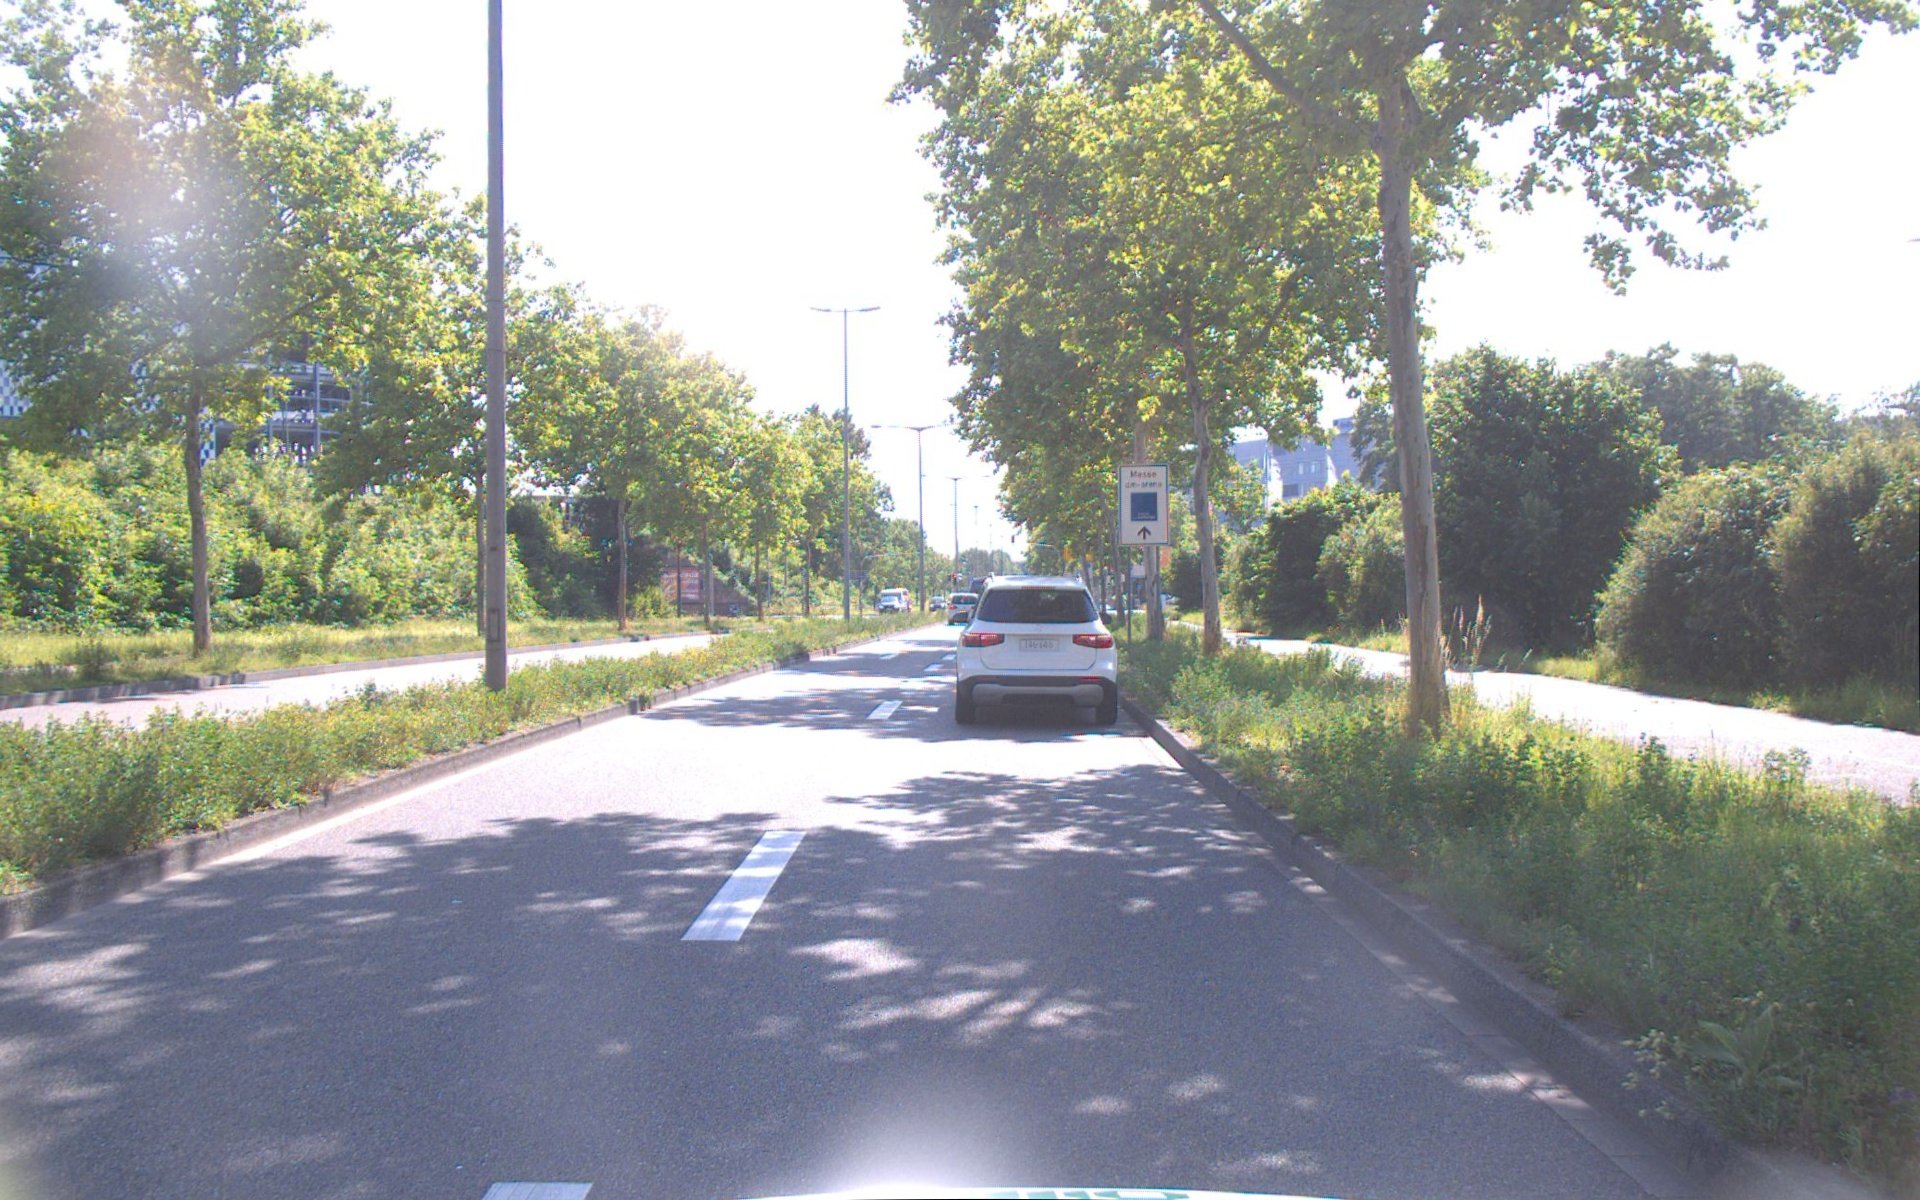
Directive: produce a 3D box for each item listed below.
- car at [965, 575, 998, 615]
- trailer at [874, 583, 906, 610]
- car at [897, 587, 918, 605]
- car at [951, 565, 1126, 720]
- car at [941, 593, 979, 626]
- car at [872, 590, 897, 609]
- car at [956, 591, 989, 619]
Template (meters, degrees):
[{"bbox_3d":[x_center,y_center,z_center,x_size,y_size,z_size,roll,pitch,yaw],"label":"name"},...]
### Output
[{"bbox_3d":[1.525,-0.317,114.207,2.038,2.703,4.876,1,0,3],"label":"car"},{"bbox_3d":[-6.184,-0.308,147.167,2.260,2.305,5.540,0,0,3],"label":"trailer"},{"bbox_3d":[-5.447,-0.418,171.617,1.727,1.821,5.378,1,0,3],"label":"car"},{"bbox_3d":[0.821,0.455,19.545,1.816,1.635,3.999,1,0,-1],"label":"car"},{"bbox_3d":[0.035,0.513,87.350,1.734,1.676,4.354,0,0,3],"label":"car"},{"bbox_3d":[-6.460,-0.027,142.205,1.679,1.650,4.362,0,0,3],"label":"car"},{"bbox_3d":[0.768,0.297,98.302,1.734,1.676,4.086,0,0,3],"label":"car"}]
